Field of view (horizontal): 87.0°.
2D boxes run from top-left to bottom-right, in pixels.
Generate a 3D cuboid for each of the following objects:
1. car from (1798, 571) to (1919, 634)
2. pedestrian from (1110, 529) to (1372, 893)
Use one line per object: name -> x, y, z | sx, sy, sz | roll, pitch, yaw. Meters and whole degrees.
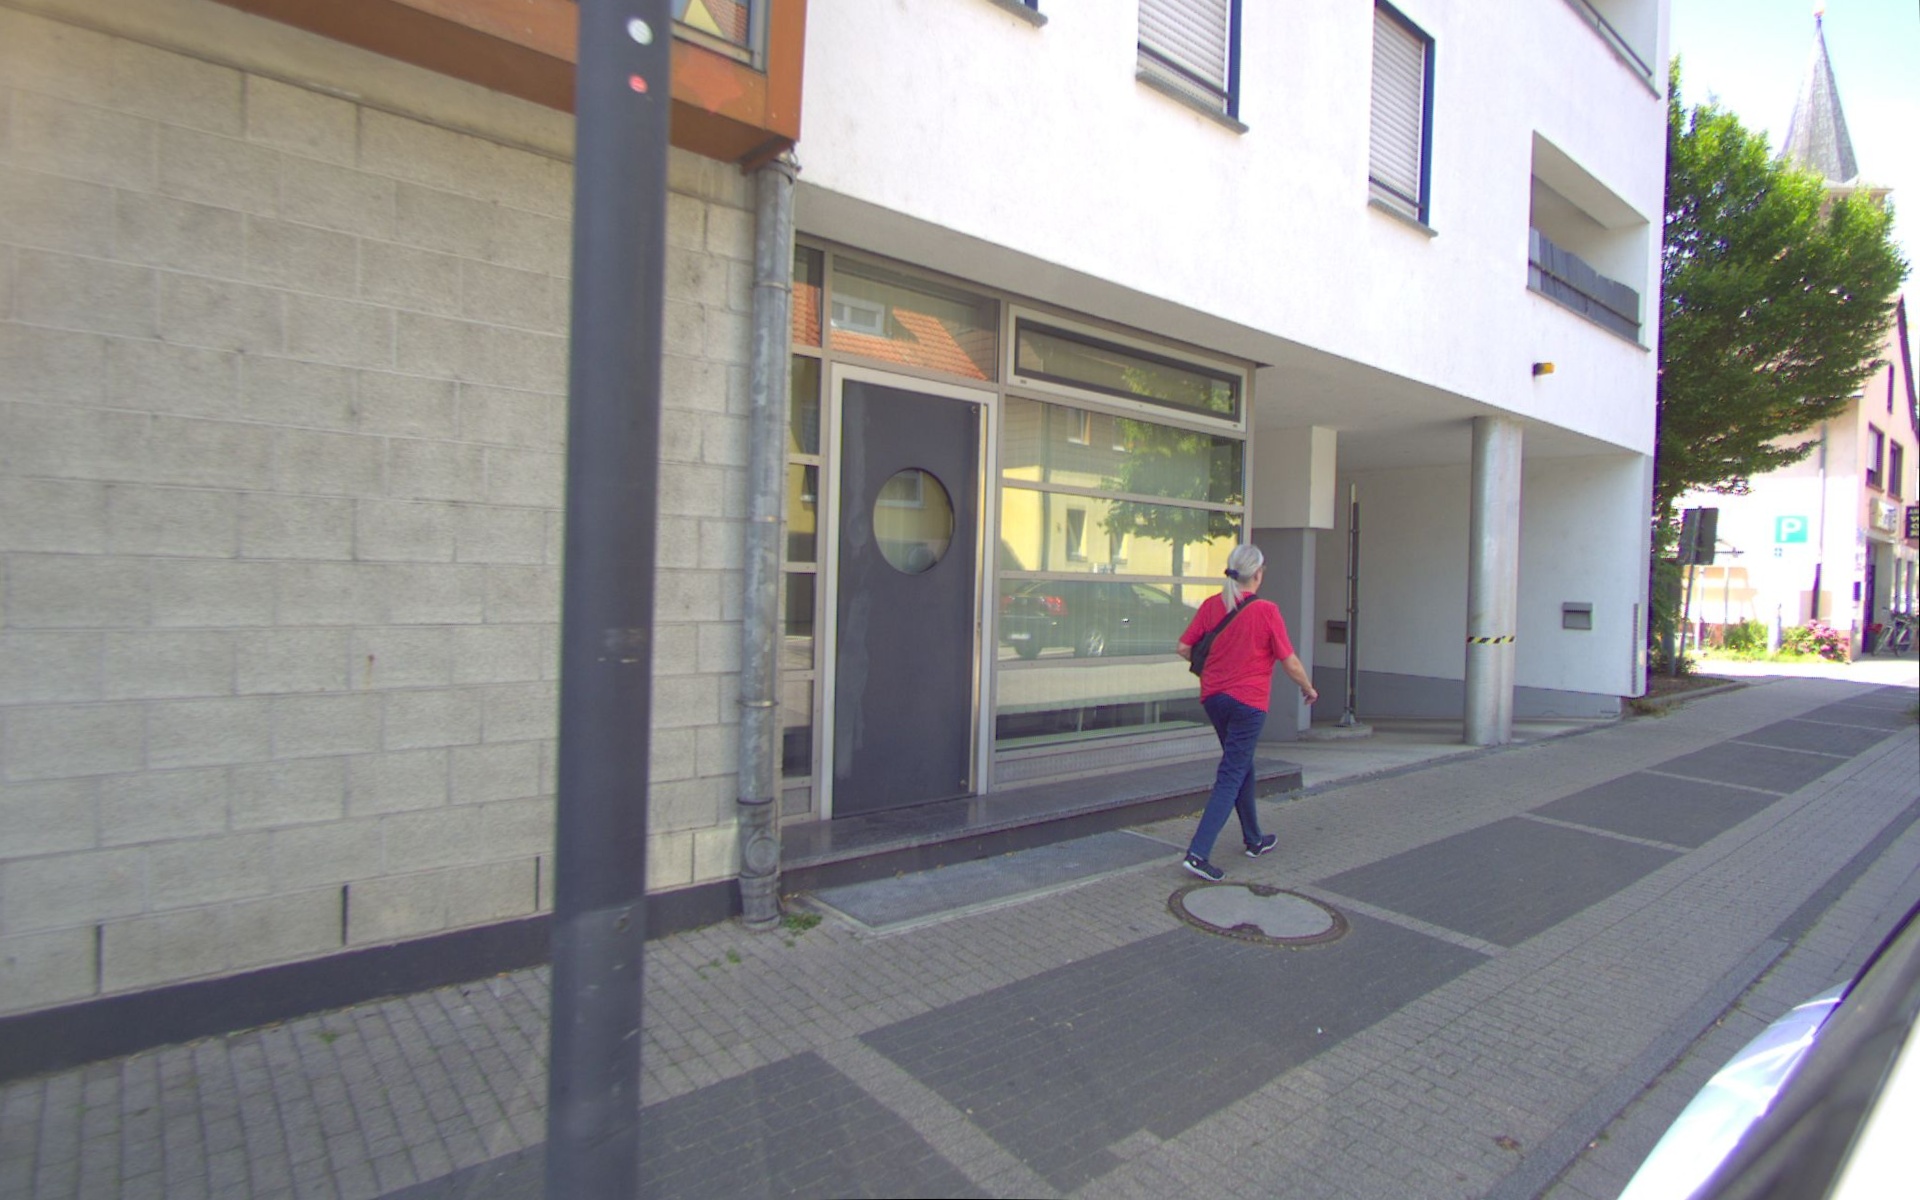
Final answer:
car -> 29.793, 0.079, 32.433 | 1.965, 1.882, 4.203 | 0, 2, -40
pedestrian -> 1.408, 0.479, 5.103 | 0.903, 1.607, 0.826 | 0, 4, -40
